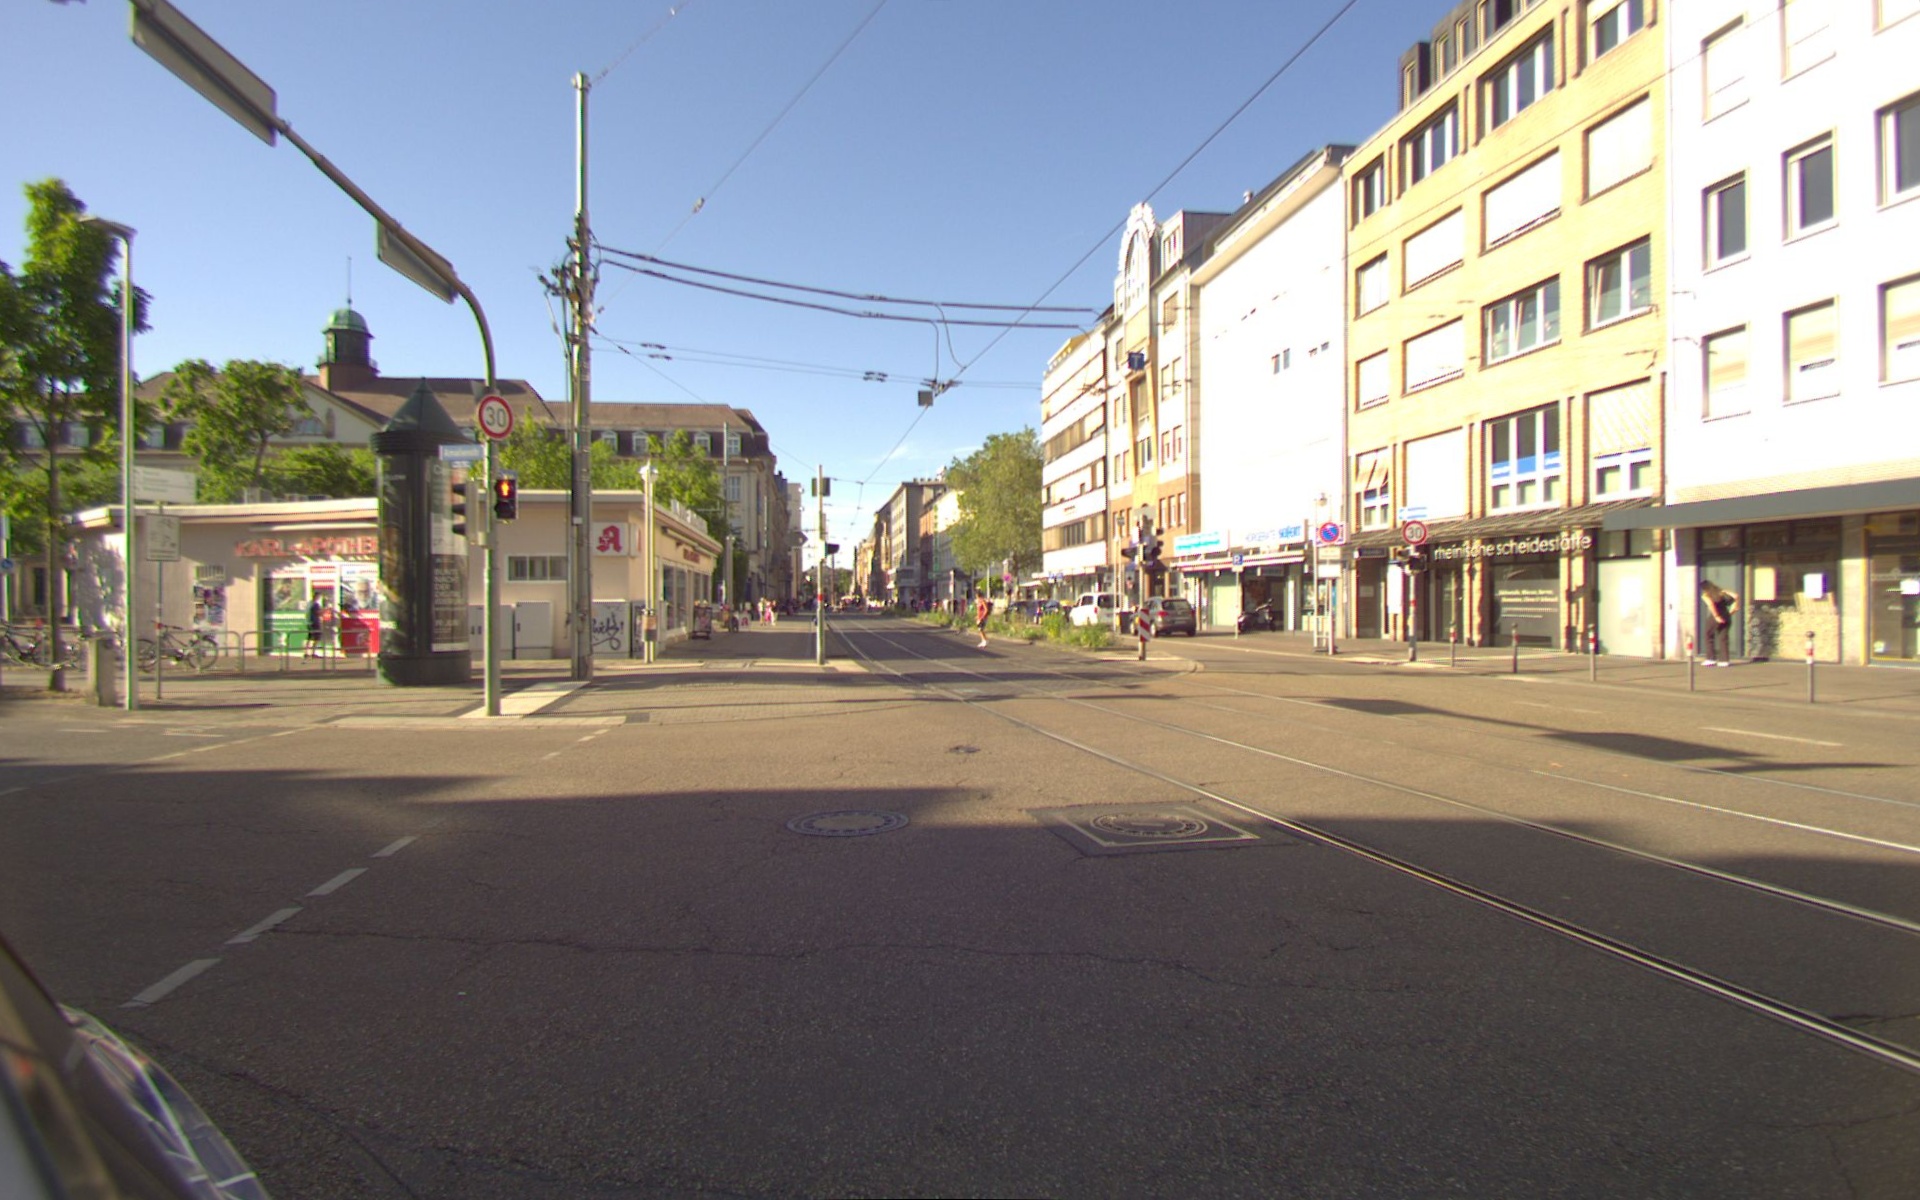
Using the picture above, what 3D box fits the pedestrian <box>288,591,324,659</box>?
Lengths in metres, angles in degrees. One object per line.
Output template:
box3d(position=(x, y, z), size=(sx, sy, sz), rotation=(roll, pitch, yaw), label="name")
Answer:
box3d(position=(-16.954, 0.644, 26.242), size=(0.606, 1.722, 0.518), rotation=(-1, -1, 16), label="pedestrian")

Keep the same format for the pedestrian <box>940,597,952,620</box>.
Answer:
box3d(position=(-1.073, 0.673, 77.566), size=(0.579, 1.728, 0.698), rotation=(-1, 0, 35), label="pedestrian")

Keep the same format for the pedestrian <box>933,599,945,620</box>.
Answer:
box3d(position=(-1.628, 0.722, 77.940), size=(0.579, 1.637, 0.698), rotation=(-1, 0, 35), label="pedestrian")

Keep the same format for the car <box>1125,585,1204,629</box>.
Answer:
box3d(position=(8.546, 0.288, 42.617), size=(1.968, 1.719, 4.007), rotation=(-1, 0, -8), label="car")

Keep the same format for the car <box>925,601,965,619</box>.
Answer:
box3d(position=(-1.551, 1.064, 105.527), size=(3.937, 1.811, 2.003), rotation=(-1, -1, -7), label="car")

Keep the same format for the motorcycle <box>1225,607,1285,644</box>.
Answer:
box3d(position=(12.451, 1.065, 42.761), size=(2.218, 1.516, 1.002), rotation=(-1, 0, -11), label="motorcycle")

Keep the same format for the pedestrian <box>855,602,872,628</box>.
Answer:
box3d(position=(-10.634, 1.619, 111.518), size=(1.814, 2.811, 1.293), rotation=(-1, 0, 1), label="pedestrian")

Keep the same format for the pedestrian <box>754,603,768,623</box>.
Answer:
box3d(position=(-15.181, 0.966, 77.250), size=(0.932, 1.476, 0.781), rotation=(-1, 0, -7), label="pedestrian")

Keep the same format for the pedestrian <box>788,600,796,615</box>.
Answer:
box3d(position=(-15.901, 0.702, 95.769), size=(0.680, 1.390, 0.781), rotation=(-1, 0, -7), label="pedestrian")

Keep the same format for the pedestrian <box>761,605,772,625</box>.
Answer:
box3d(position=(-13.293, 1.021, 69.486), size=(0.680, 1.390, 0.782), rotation=(-1, 0, -15), label="pedestrian")

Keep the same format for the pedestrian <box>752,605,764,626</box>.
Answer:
box3d(position=(-12.162, 0.936, 60.891), size=(0.612, 1.283, 0.782), rotation=(-1, 0, -15), label="pedestrian")

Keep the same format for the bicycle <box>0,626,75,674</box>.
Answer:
box3d(position=(-21.442, 1.129, 22.976), size=(0.760, 1.010, 1.876), rotation=(-1, 1, 24), label="bicycle")

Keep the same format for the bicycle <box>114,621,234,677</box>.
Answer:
box3d(position=(-17.069, 1.042, 22.033), size=(0.747, 1.096, 1.984), rotation=(-1, 1, 17), label="bicycle")

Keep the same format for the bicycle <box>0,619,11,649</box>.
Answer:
box3d(position=(-34.545, 1.210, 34.935), size=(0.784, 1.015, 2.540), rotation=(-1, 0, 39), label="bicycle")

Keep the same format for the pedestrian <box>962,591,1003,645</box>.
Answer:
box3d(position=(0.711, 0.549, 31.897), size=(0.930, 1.676, 0.919), rotation=(0, -1, -34), label="pedestrian")

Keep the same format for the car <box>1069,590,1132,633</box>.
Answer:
box3d(position=(6.981, 0.571, 50.775), size=(1.969, 2.029, 4.848), rotation=(-1, 0, -6), label="car")

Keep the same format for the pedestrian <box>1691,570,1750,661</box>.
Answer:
box3d(position=(14.655, 0.295, 19.511), size=(0.705, 1.722, 0.558), rotation=(-1, -1, 13), label="pedestrian")

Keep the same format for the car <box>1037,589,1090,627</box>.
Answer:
box3d(position=(5.722, 0.450, 56.335), size=(1.968, 2.029, 4.007), rotation=(-1, 0, -8), label="car")

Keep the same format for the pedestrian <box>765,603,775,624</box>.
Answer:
box3d(position=(-11.518, 0.803, 61.453), size=(0.501, 1.283, 0.721), rotation=(-1, 0, -17), label="pedestrian")

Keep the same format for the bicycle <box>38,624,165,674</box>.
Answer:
box3d(position=(-19.238, 1.076, 22.721), size=(0.885, 1.010, 1.998), rotation=(-1, 0, 30), label="bicycle")

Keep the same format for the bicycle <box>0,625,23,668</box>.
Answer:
box3d(position=(-23.753, 1.143, 24.170), size=(0.760, 1.010, 1.876), rotation=(-1, 1, 24), label="bicycle")

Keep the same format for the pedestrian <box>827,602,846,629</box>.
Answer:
box3d(position=(-13.478, 1.682, 110.358), size=(1.925, 2.811, 1.378), rotation=(-1, 0, 1), label="pedestrian")

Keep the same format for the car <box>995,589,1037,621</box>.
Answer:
box3d(position=(3.707, 0.306, 67.467), size=(1.968, 2.029, 4.007), rotation=(-1, 0, -8), label="car")
